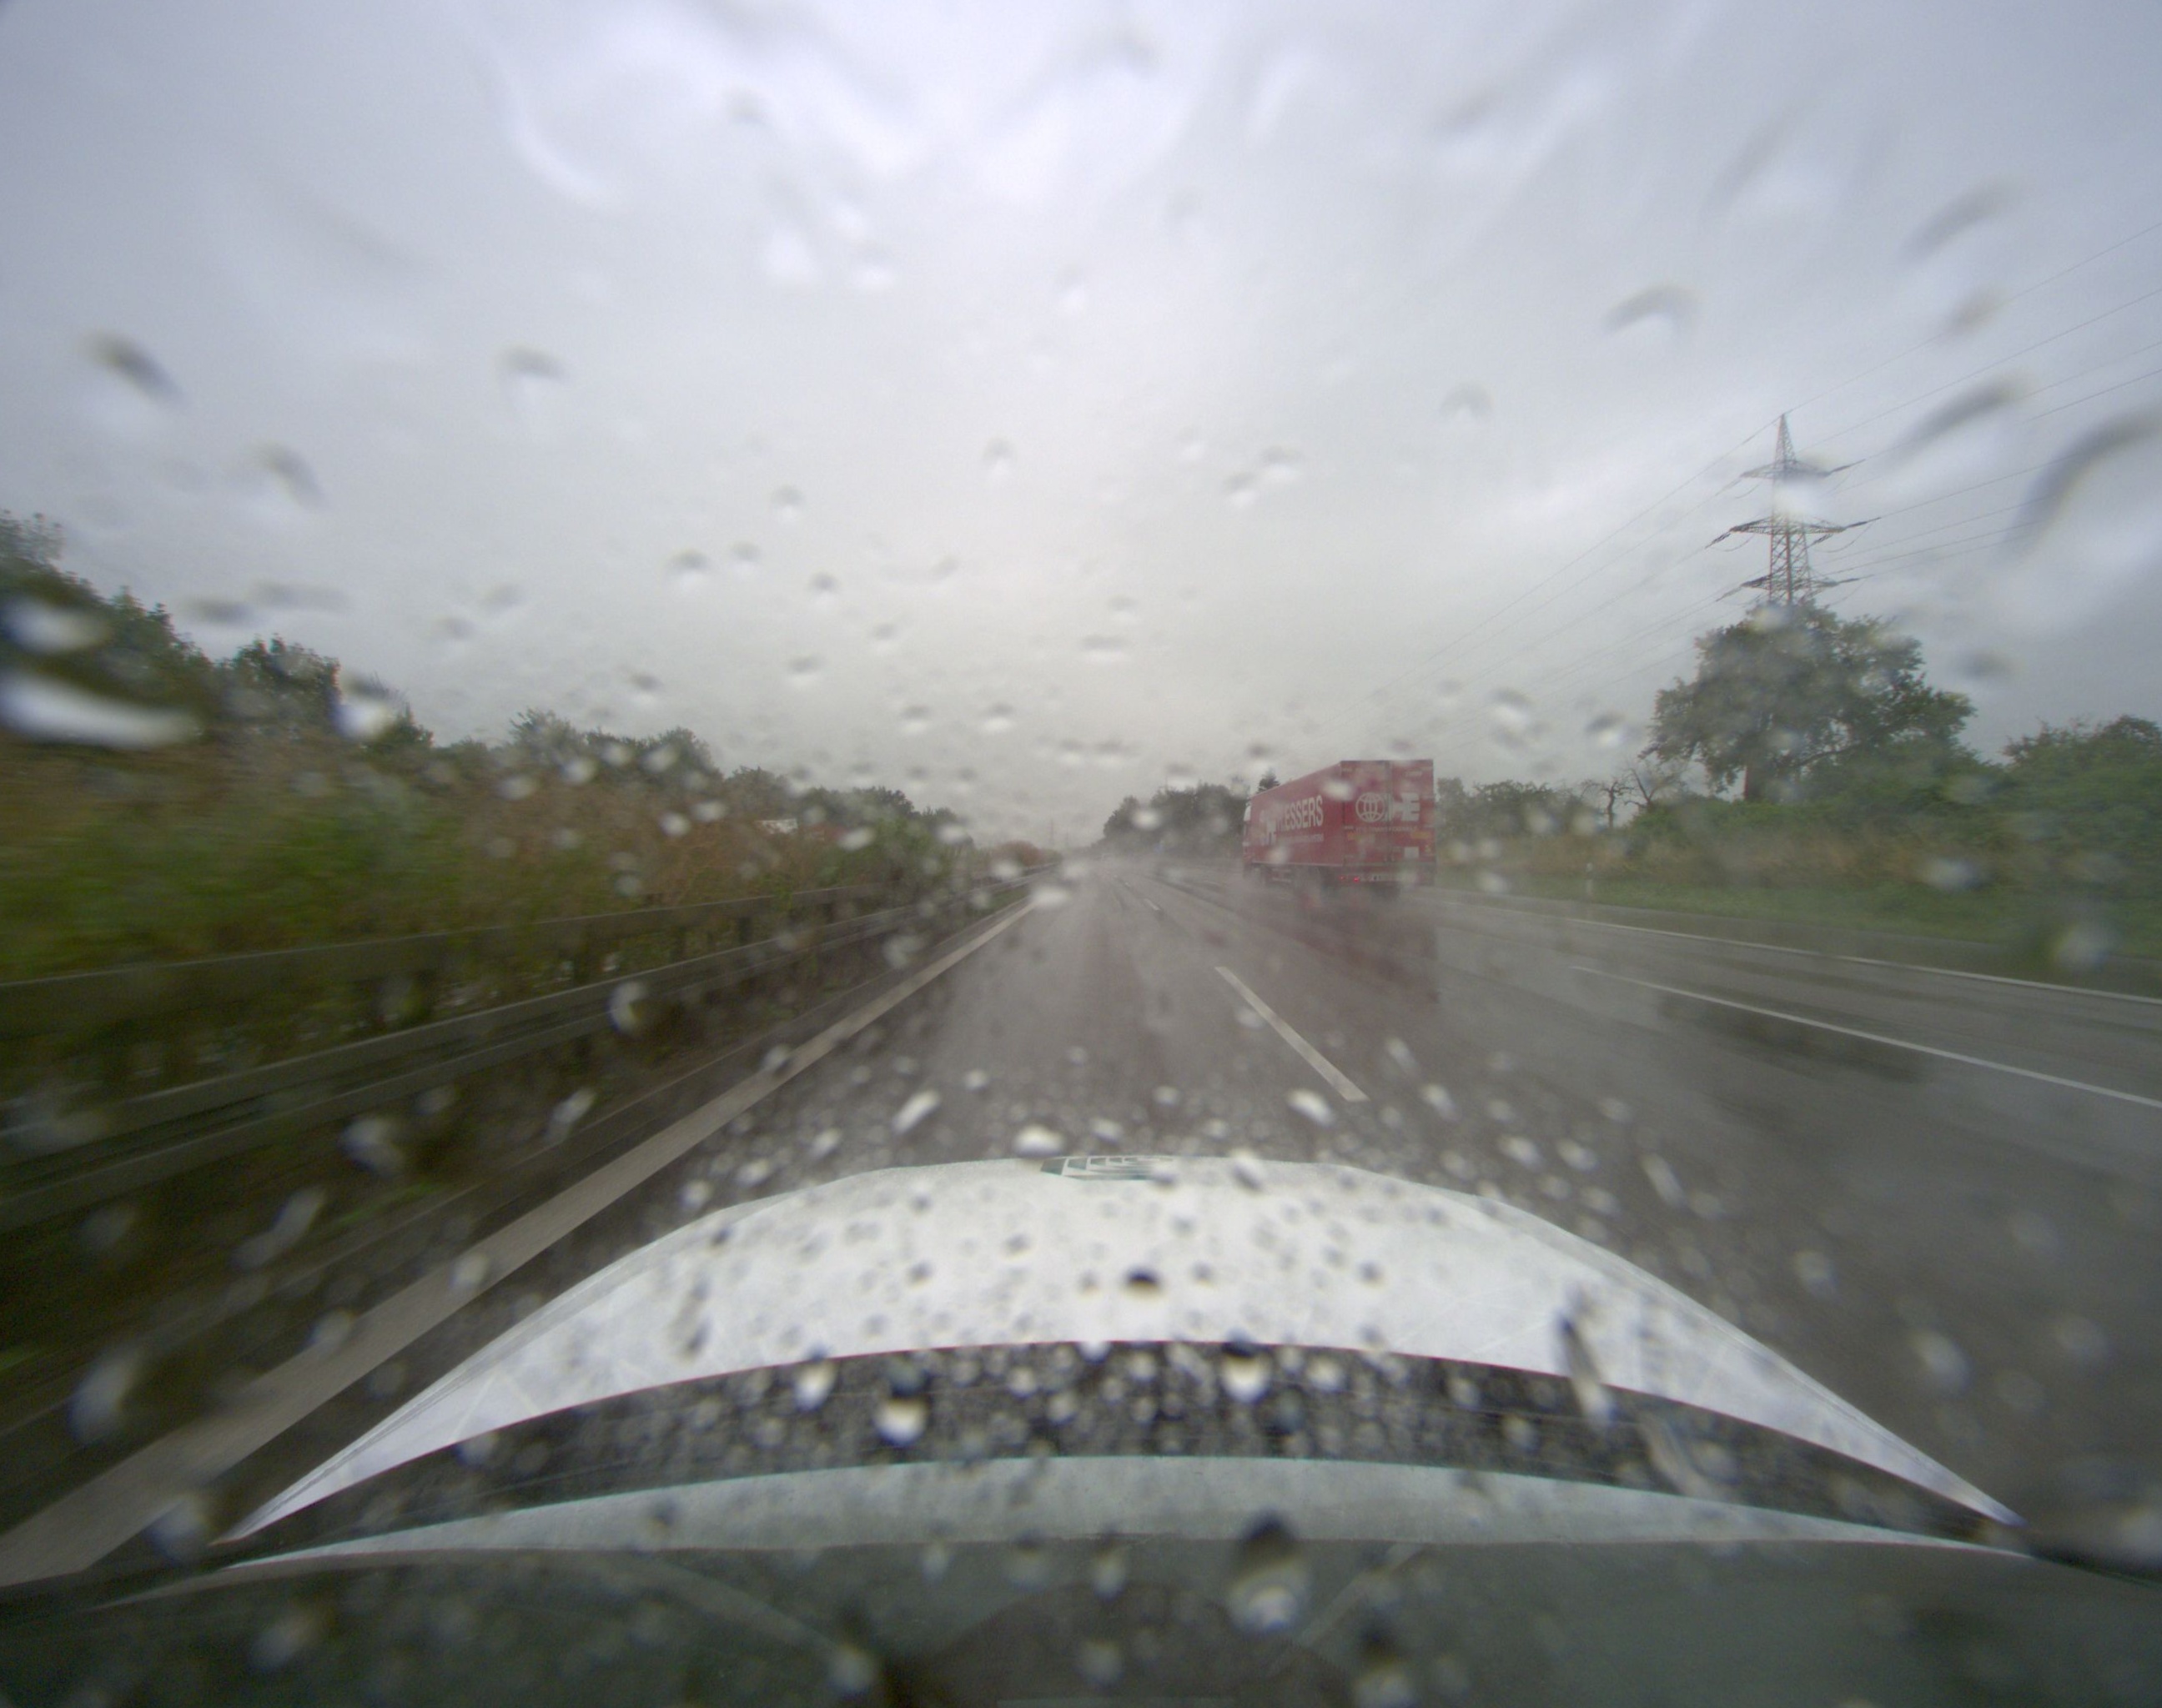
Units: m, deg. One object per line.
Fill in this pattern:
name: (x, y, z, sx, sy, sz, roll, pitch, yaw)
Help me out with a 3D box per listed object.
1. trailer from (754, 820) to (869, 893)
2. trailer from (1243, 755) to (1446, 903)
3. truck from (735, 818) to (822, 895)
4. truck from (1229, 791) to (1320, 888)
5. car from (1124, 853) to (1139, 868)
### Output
trailer: (-15.902, 0.137, 49.388, 2.589, 3.831, 12.215, -1, 0, 1)
trailer: (8.559, -0.655, 29.066, 2.612, 3.955, 13.626, -2, 0, 0)
truck: (-16.021, 0.143, 43.493, 2.575, 3.831, 4.976, -1, 0, 1)
truck: (8.524, -0.589, 36.481, 2.612, 3.955, 5.431, -2, 0, -1)
car: (7.483, 1.013, 121.183, 1.801, 2.158, 3.999, -2, 0, -1)
